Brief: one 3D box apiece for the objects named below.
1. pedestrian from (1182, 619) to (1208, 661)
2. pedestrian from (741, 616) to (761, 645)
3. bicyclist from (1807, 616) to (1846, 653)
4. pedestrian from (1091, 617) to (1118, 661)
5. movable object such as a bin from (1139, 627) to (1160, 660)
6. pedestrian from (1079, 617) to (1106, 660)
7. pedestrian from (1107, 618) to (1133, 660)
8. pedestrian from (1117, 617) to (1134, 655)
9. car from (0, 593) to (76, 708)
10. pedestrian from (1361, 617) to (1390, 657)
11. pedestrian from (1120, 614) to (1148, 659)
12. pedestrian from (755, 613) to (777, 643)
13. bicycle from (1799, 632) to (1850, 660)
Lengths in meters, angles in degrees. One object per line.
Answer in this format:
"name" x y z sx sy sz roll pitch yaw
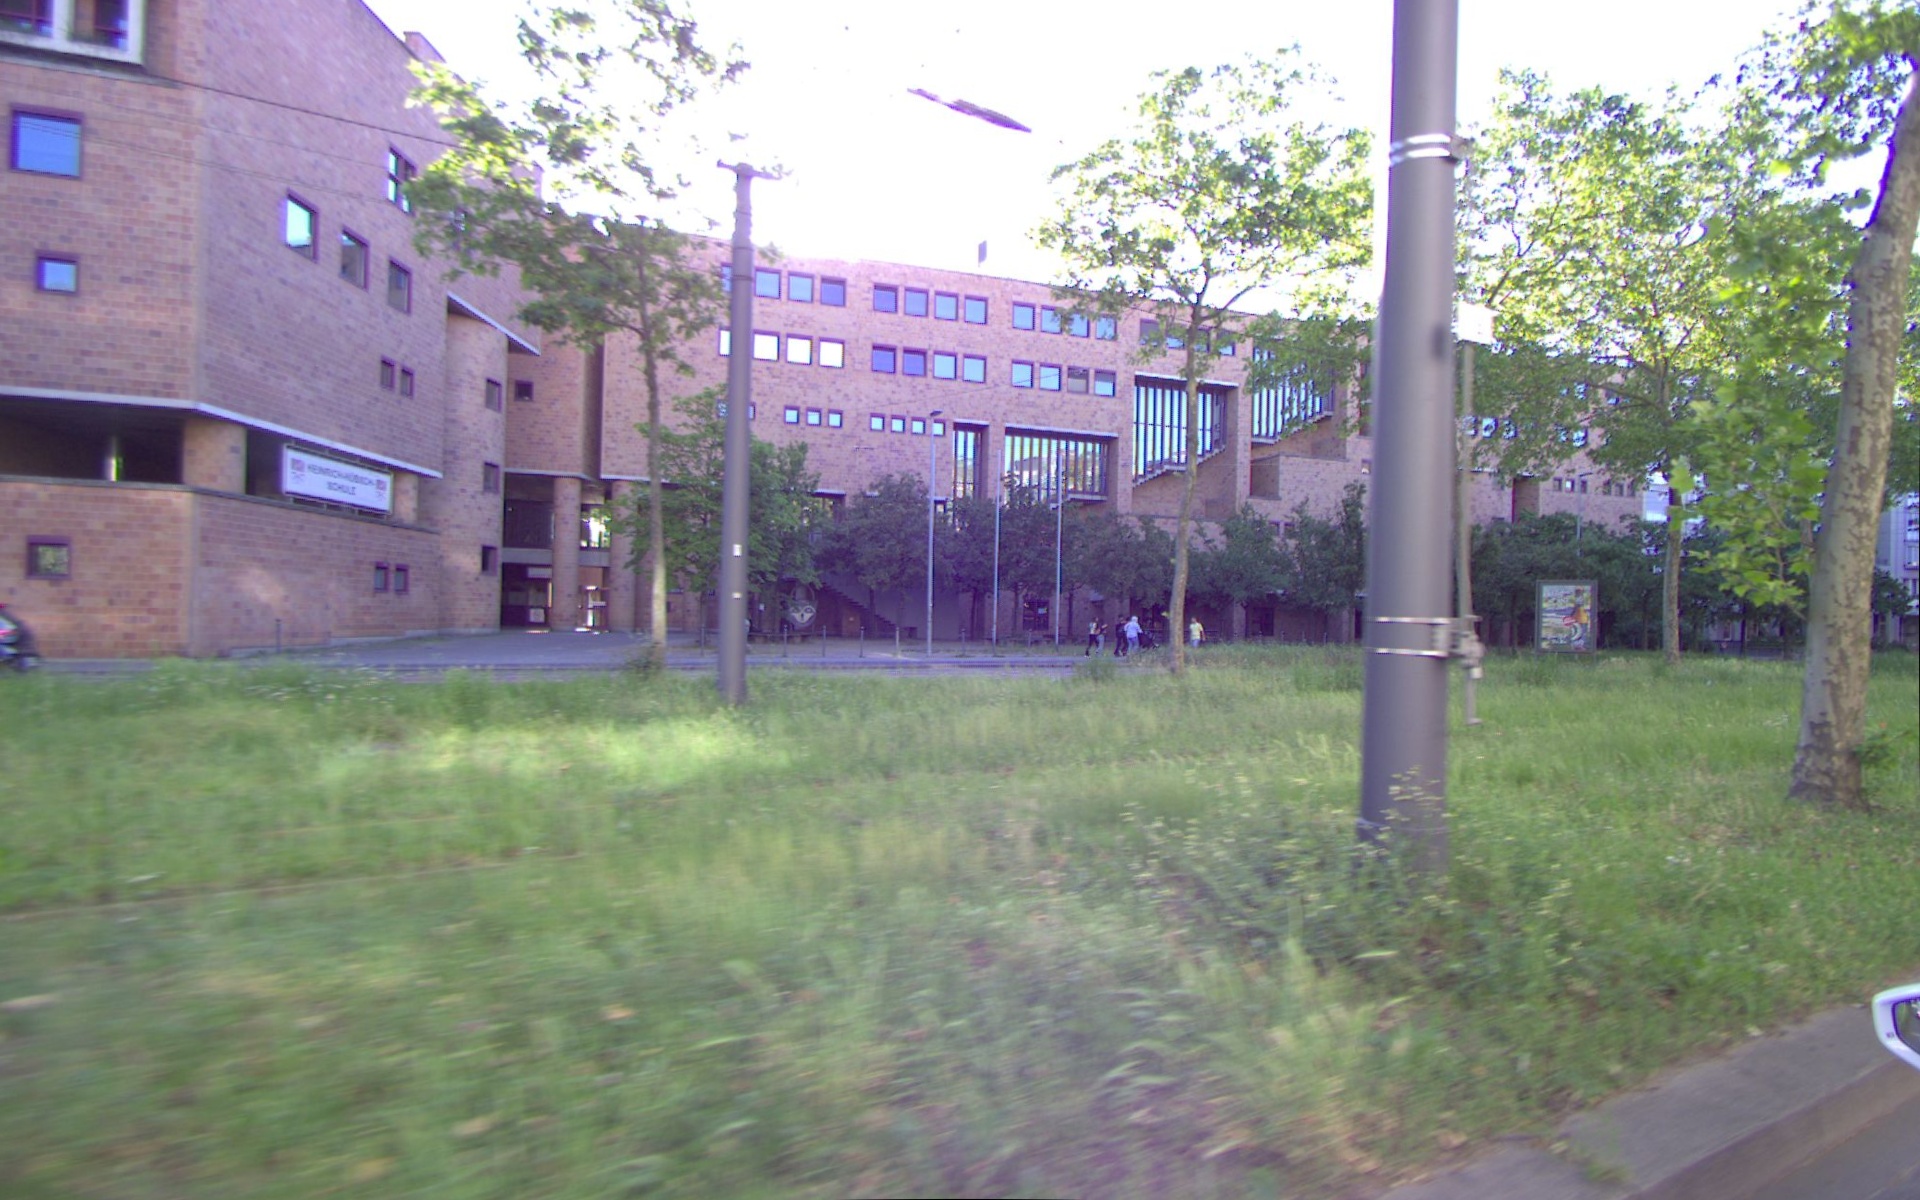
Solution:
"pedestrian" 9.339 1.573 39.957 0.750 1.638 0.658 2 -1 -39
"pedestrian" -9.040 1.312 43.419 0.625 1.214 0.658 2 -1 -38
"bicyclist" 38.493 1.525 44.622 1.194 1.592 0.937 2 -1 -29
"pedestrian" 5.534 1.496 38.404 0.747 1.638 0.661 2 -1 -30
"movable object such as a bin" 7.492 1.712 39.737 0.747 1.296 0.354 2 -1 -30
"pedestrian" 5.161 1.492 39.081 0.747 1.638 0.661 2 -1 -30
"pedestrian" 6.336 1.545 39.885 0.747 1.638 0.661 2 -1 -30
"pedestrian" 6.749 1.457 40.965 0.458 1.525 0.481 2 -1 -28
"car" -13.911 0.585 12.482 4.102 1.448 1.605 2 -1 -31
"pedestrian" 19.457 1.718 47.063 0.889 1.855 0.821 2 -1 -24
"pedestrian" 6.822 1.426 39.358 0.787 1.745 0.661 2 -1 -30
"pedestrian" -8.277 1.181 42.773 0.741 1.267 0.666 1 -1 3
"bicycle" 38.327 2.033 44.529 2.406 1.141 0.952 3 -1 -29
